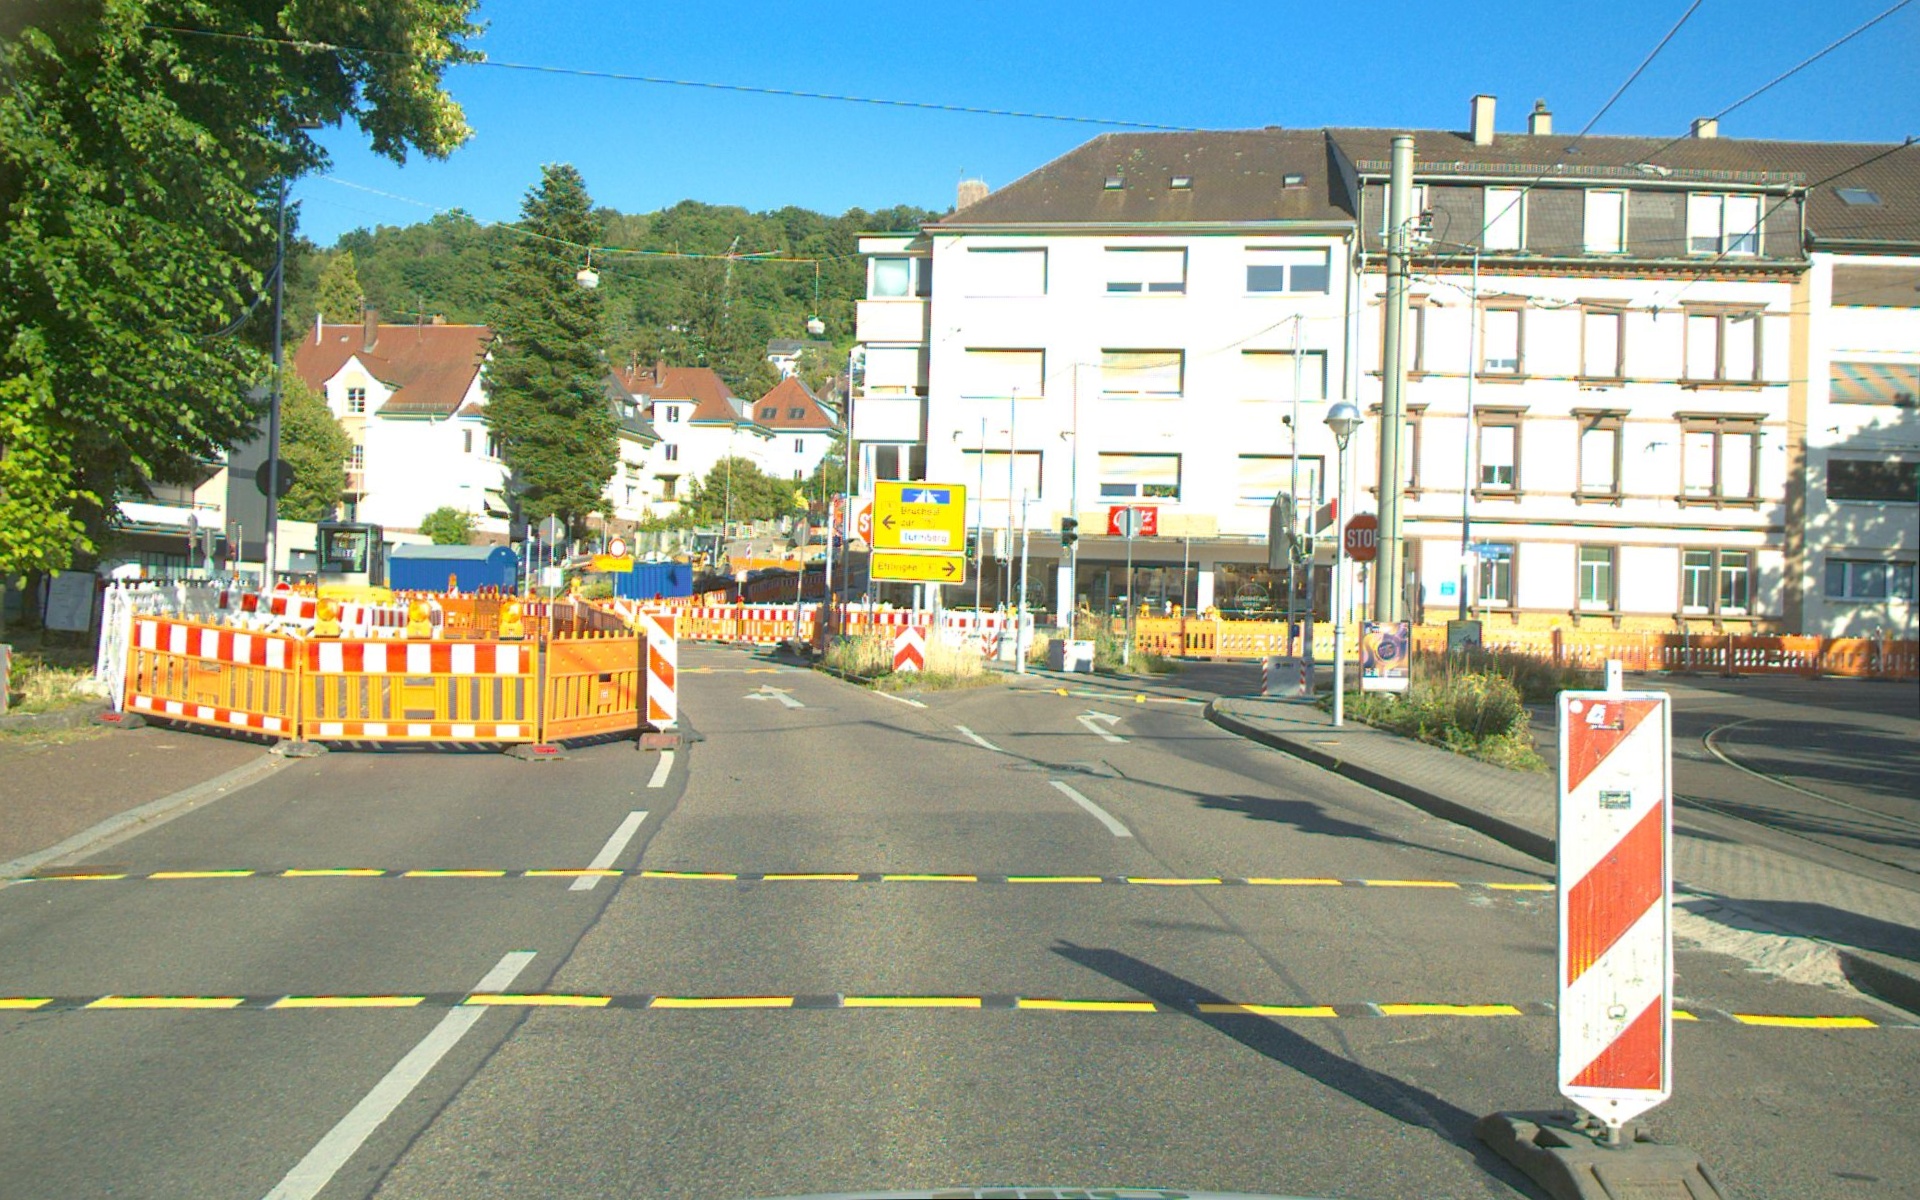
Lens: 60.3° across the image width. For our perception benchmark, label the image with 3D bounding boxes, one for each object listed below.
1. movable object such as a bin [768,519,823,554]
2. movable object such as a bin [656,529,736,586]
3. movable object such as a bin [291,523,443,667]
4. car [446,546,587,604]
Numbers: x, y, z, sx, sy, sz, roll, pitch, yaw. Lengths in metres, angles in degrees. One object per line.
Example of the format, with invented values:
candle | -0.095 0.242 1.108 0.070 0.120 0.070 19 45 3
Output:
movable object such as a bin | -11.371 -4.392 114.741 2.510 2.159 5.789 1 0 8
movable object such as a bin | -12.529 -2.004 78.791 1.907 2.538 4.554 1 0 17
movable object such as a bin | -10.428 -0.093 29.344 1.615 2.365 3.916 1 0 -6
car | -17.555 -0.943 65.901 2.529 2.158 6.154 1 0 17
